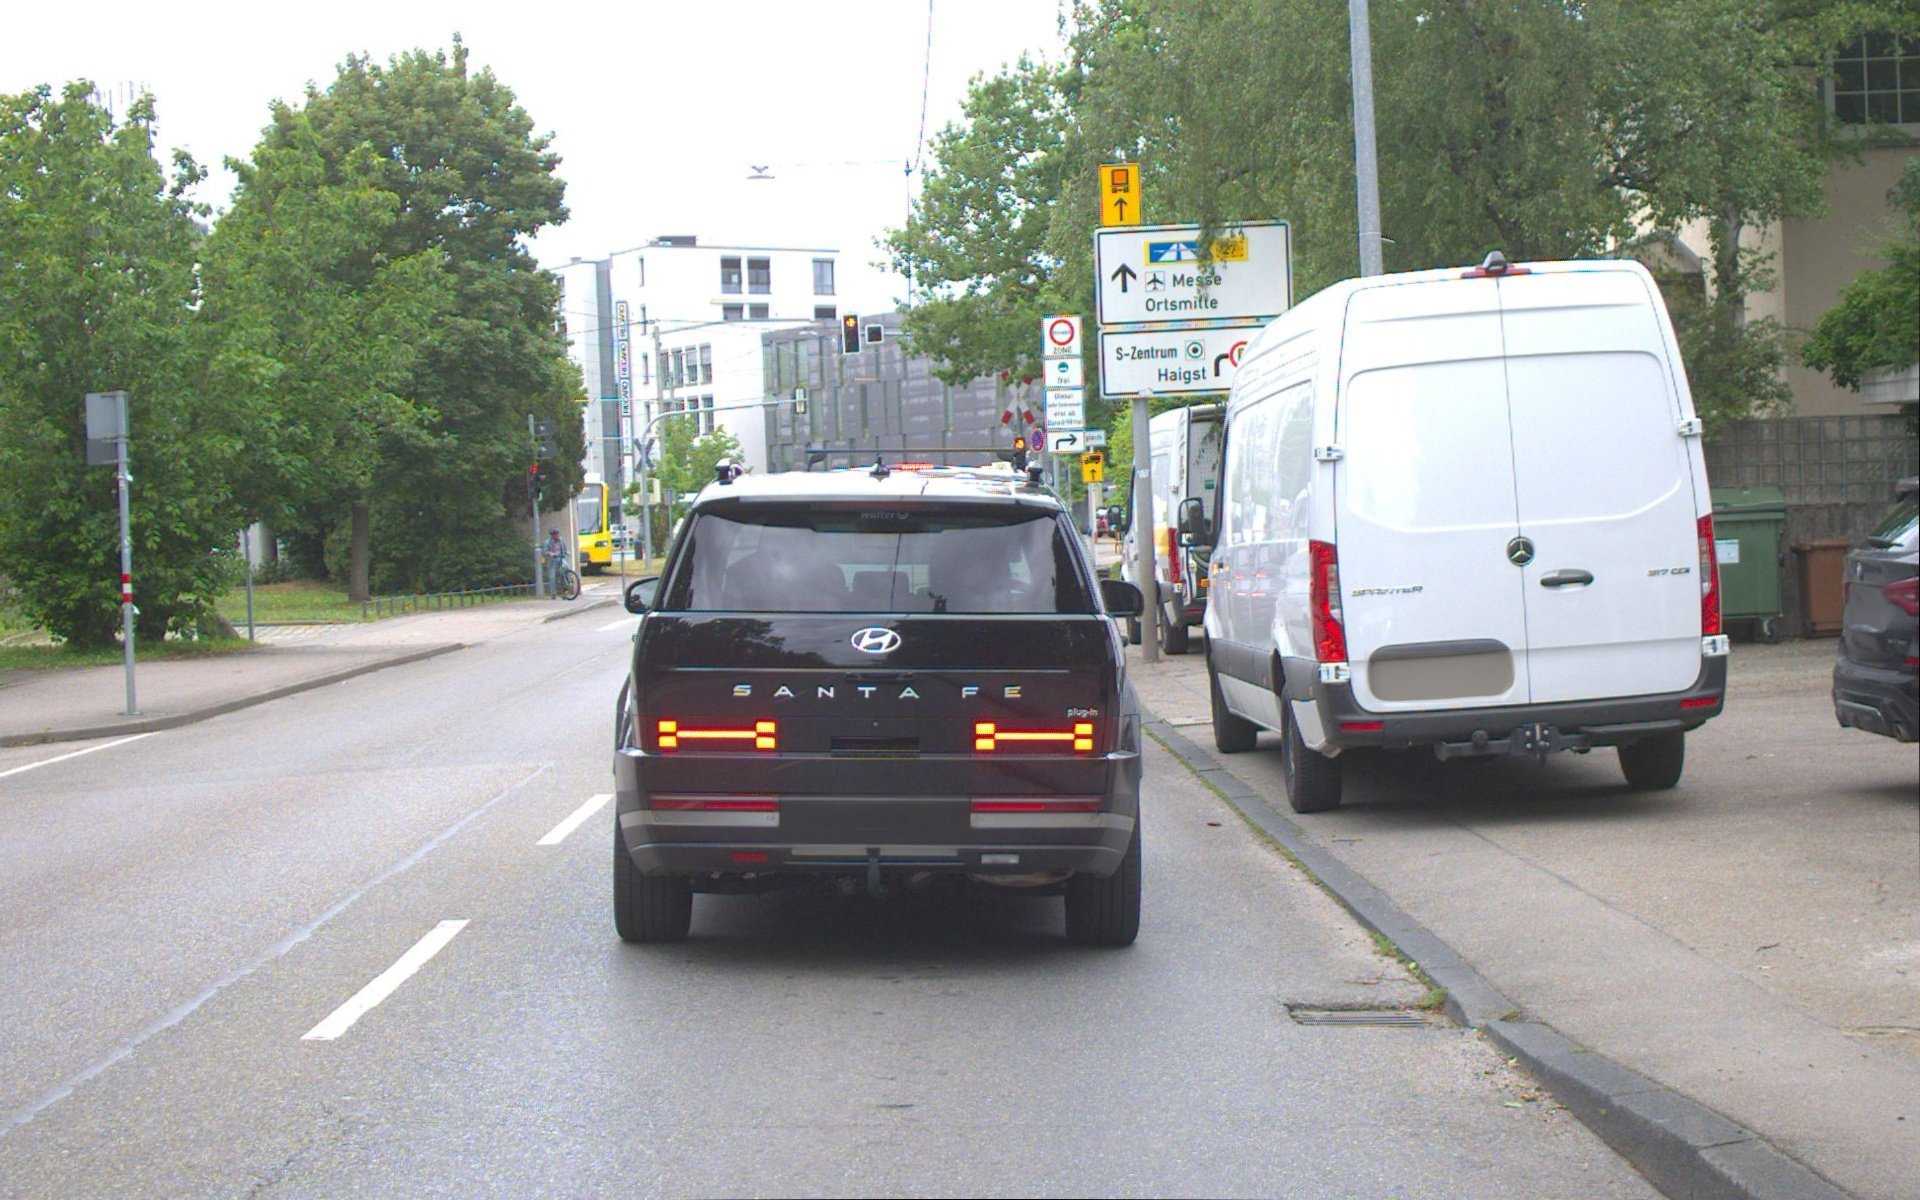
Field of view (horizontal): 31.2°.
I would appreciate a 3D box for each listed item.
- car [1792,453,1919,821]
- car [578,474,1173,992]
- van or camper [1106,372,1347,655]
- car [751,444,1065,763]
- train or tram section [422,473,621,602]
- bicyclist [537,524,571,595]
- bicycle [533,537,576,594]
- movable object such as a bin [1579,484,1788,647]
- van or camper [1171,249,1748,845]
[{"bbox_3d":[6.382,0.061,16.293,4.394,1.646,1.830,-2,1,1],"label":"car"},{"bbox_3d":[-0.325,0.397,13.427,1.963,1.705,4.000,0,1,-1],"label":"car"},{"bbox_3d":[2.844,-0.946,37.845,1.963,2.787,5.287,-3,1,-1],"label":"van or camper"},{"bbox_3d":[-0.372,-0.023,23.679,1.963,1.994,4.000,0,1,-1],"label":"car"},{"bbox_3d":[-17.317,-2.266,133.791,3.192,4.507,18.688,0,0,-21],"label":"train or tram section"},{"bbox_3d":[-9.540,-0.946,80.716,0.675,1.653,0.859,0,-1,-14],"label":"bicyclist"},{"bbox_3d":[-9.534,-0.801,80.687,0.675,1.275,2.501,0,0,-14],"label":"bicycle"},{"bbox_3d":[6.728,-0.333,32.069,1.449,1.468,1.718,-1,1,-6],"label":"movable object such as a bin"},{"bbox_3d":[2.500,-0.314,19.023,1.963,2.618,6.359,-4,1,-1],"label":"van or camper"}]
